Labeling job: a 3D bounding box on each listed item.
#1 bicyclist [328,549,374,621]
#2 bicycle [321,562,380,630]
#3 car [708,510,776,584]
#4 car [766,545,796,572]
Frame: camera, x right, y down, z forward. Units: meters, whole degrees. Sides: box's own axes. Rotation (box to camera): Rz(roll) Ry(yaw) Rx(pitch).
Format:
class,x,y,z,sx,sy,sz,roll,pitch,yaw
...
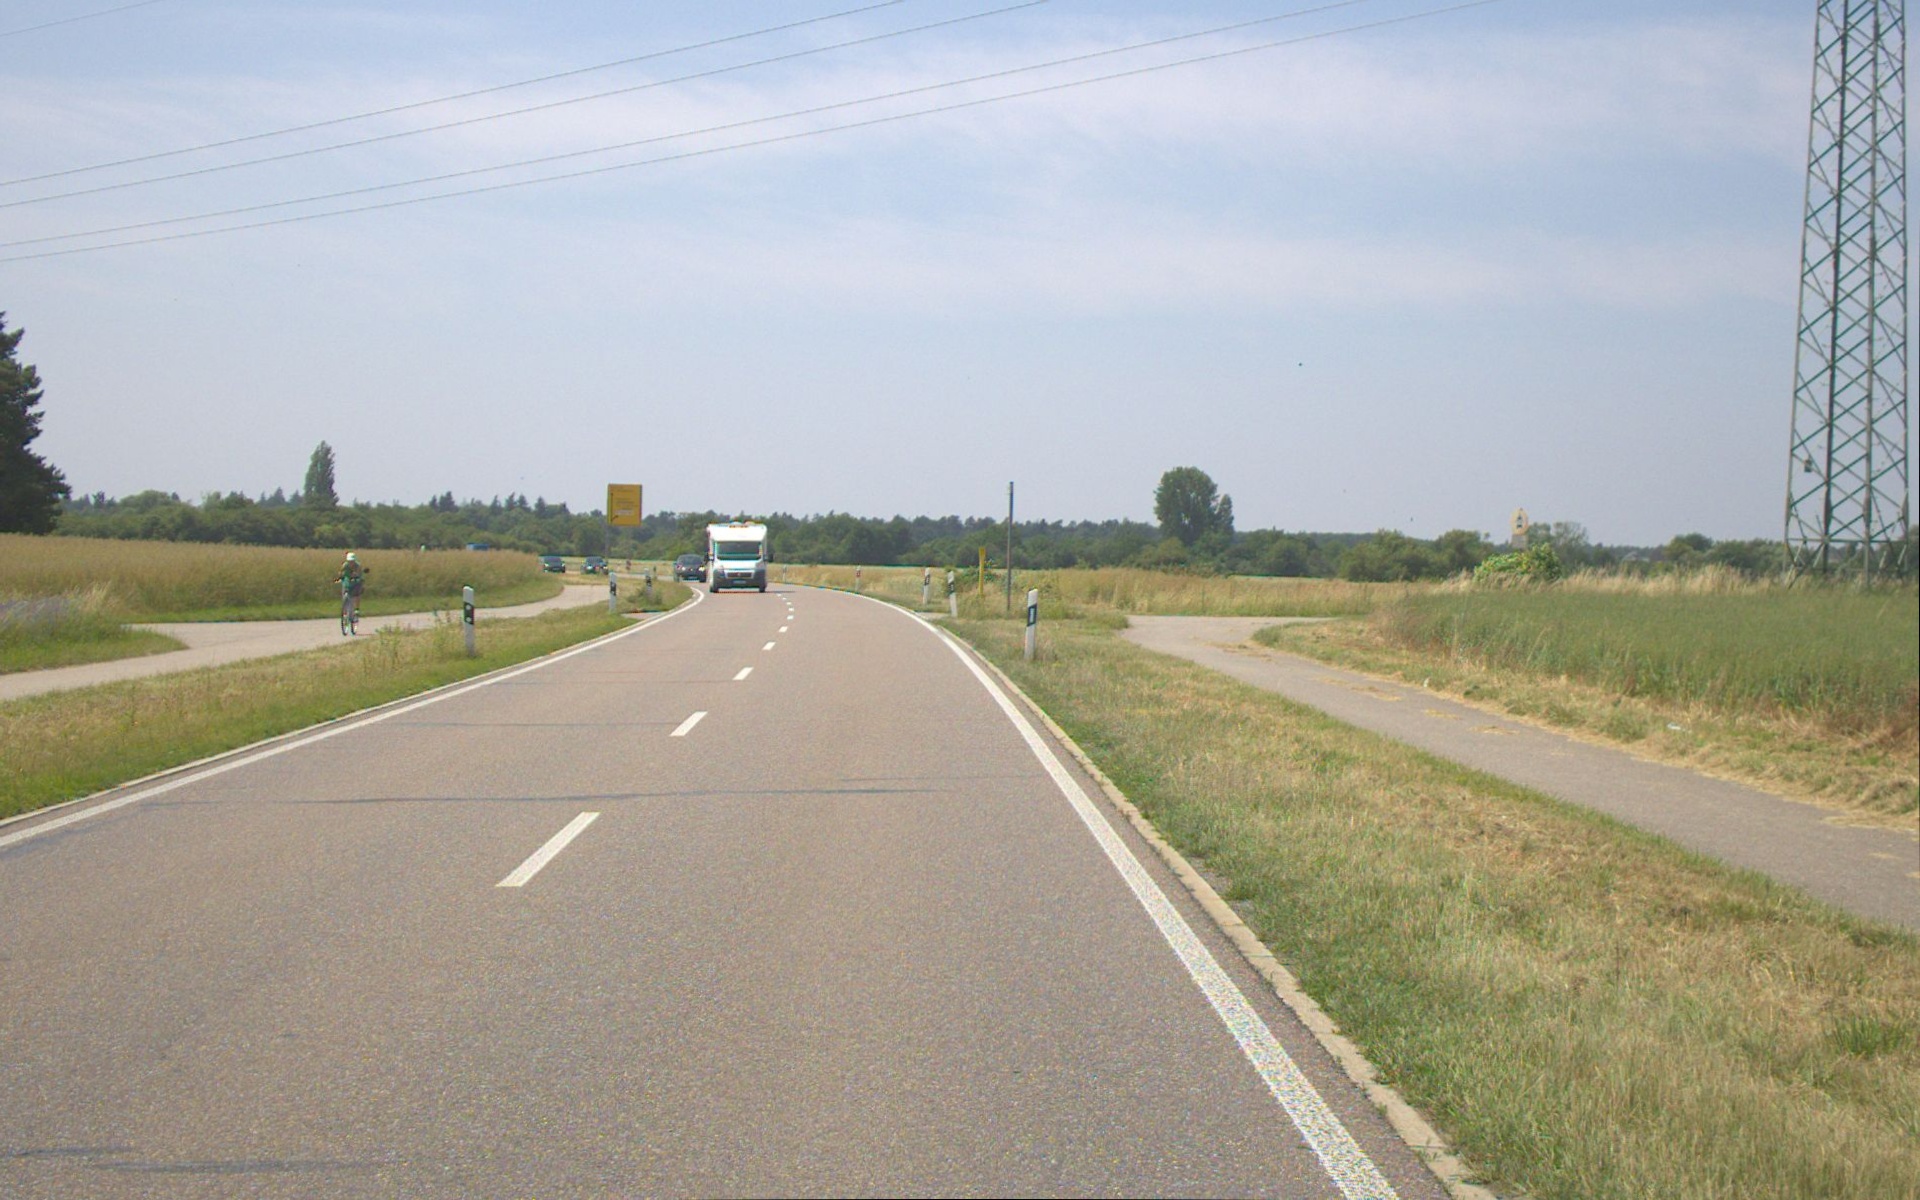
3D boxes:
class,x,y,z,sx,sy,sz,roll,pitch,yaw
bicyclist,-11.426,-0.281,64.480,0.701,1.326,0.965,1,1,-1
bicycle,-11.429,-0.089,64.529,0.762,1.224,2.216,1,1,-1
car,-8.666,-2.126,137.096,2.397,2.837,7.629,1,1,-2
car,-10.058,-2.312,192.841,1.623,1.486,4.001,1,1,-3
